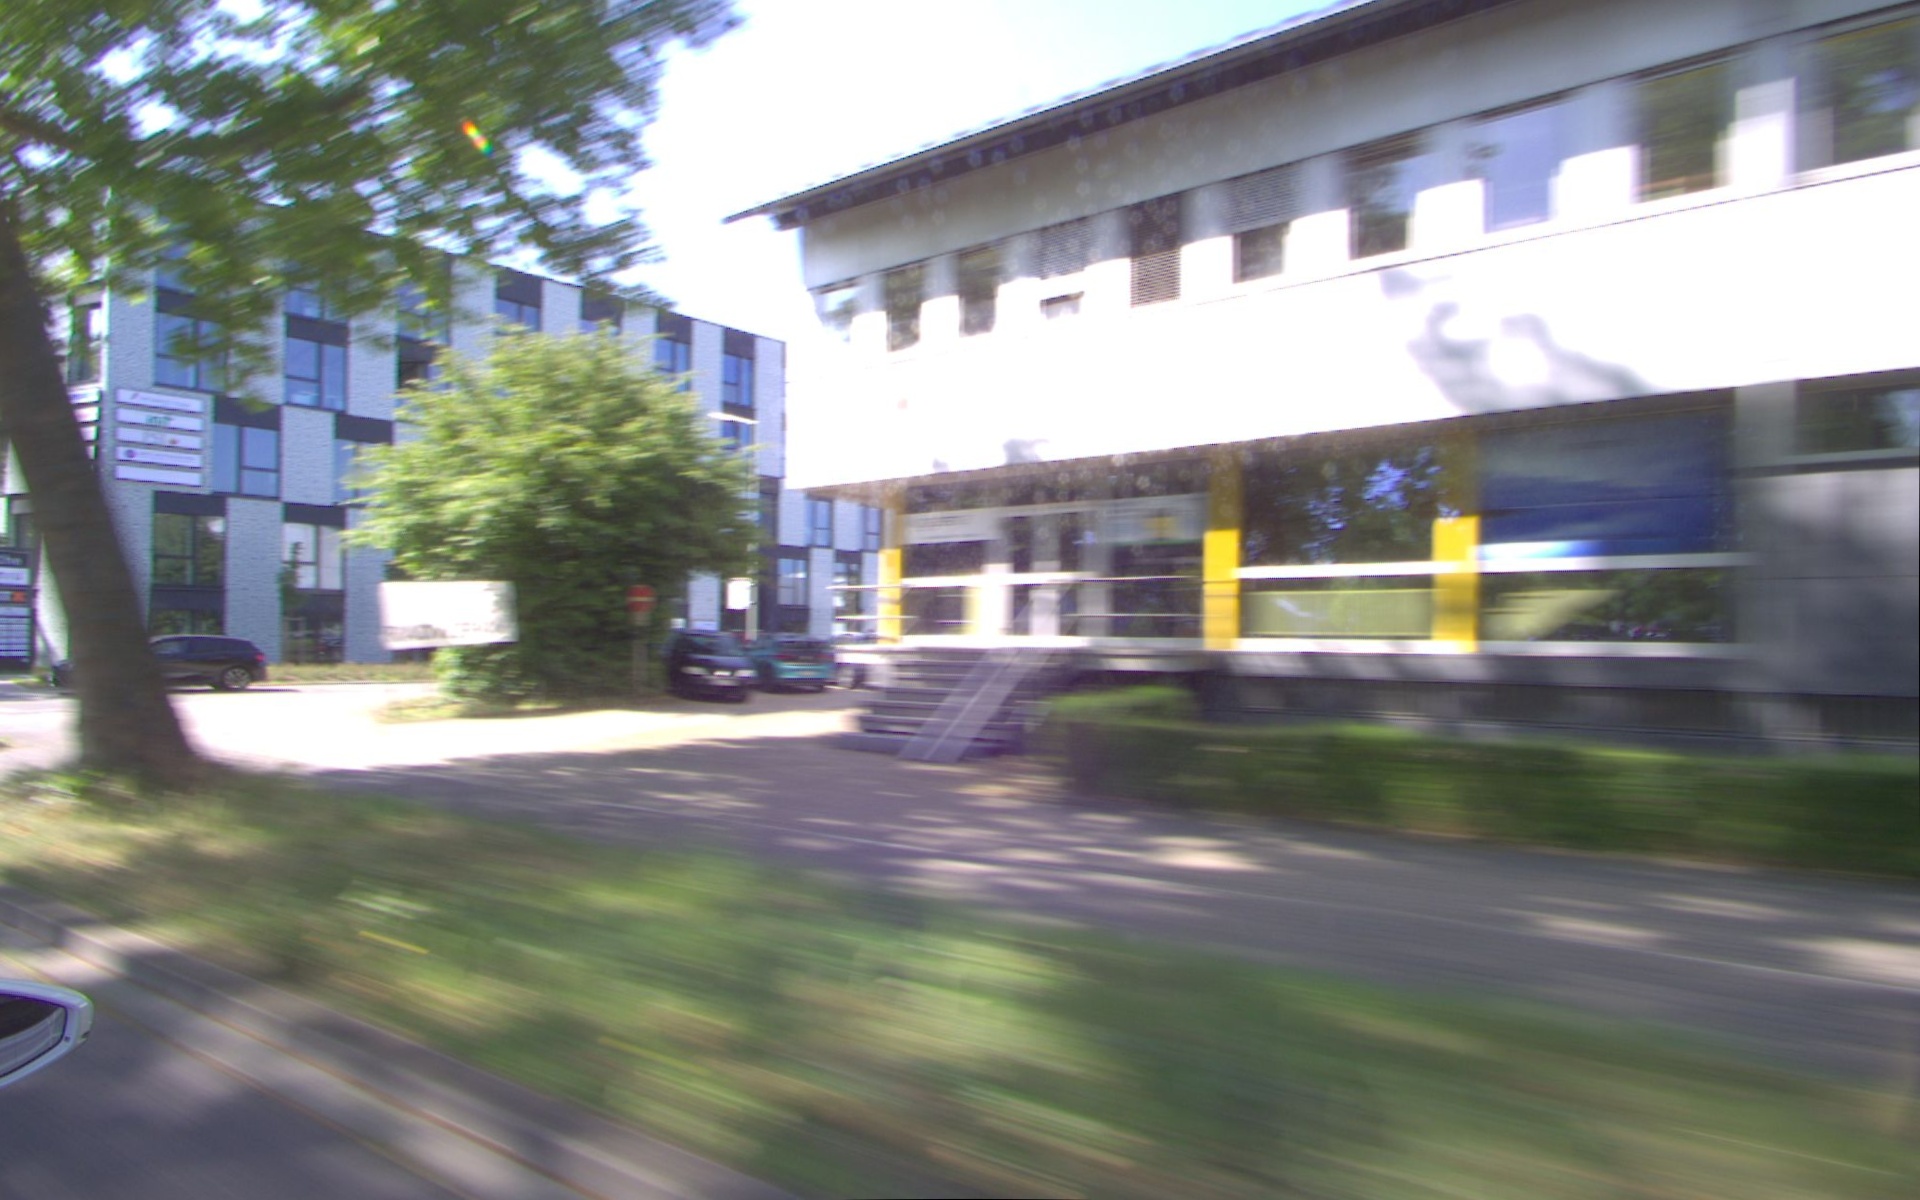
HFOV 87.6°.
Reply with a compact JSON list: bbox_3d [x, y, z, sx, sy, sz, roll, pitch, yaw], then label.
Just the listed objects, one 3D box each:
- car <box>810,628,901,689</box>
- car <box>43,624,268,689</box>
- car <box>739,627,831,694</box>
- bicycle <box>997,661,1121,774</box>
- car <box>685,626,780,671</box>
[{"bbox_3d":[-3.150,1.697,29.628,1.654,1.683,3.737,1,-2,-23],"label":"car"},{"bbox_3d":[-20.583,1.448,25.748,1.978,1.536,4.229,-1,-3,41],"label":"car"},{"bbox_3d":[-4.898,1.618,27.706,1.654,1.683,3.737,-1,-1,-23],"label":"car"},{"bbox_3d":[1.171,1.315,11.574,0.503,1.145,1.661,-1,-1,43],"label":"bicycle"},{"bbox_3d":[-10.208,2.161,44.818,4.433,1.875,1.983,-1,-3,44],"label":"car"}]
